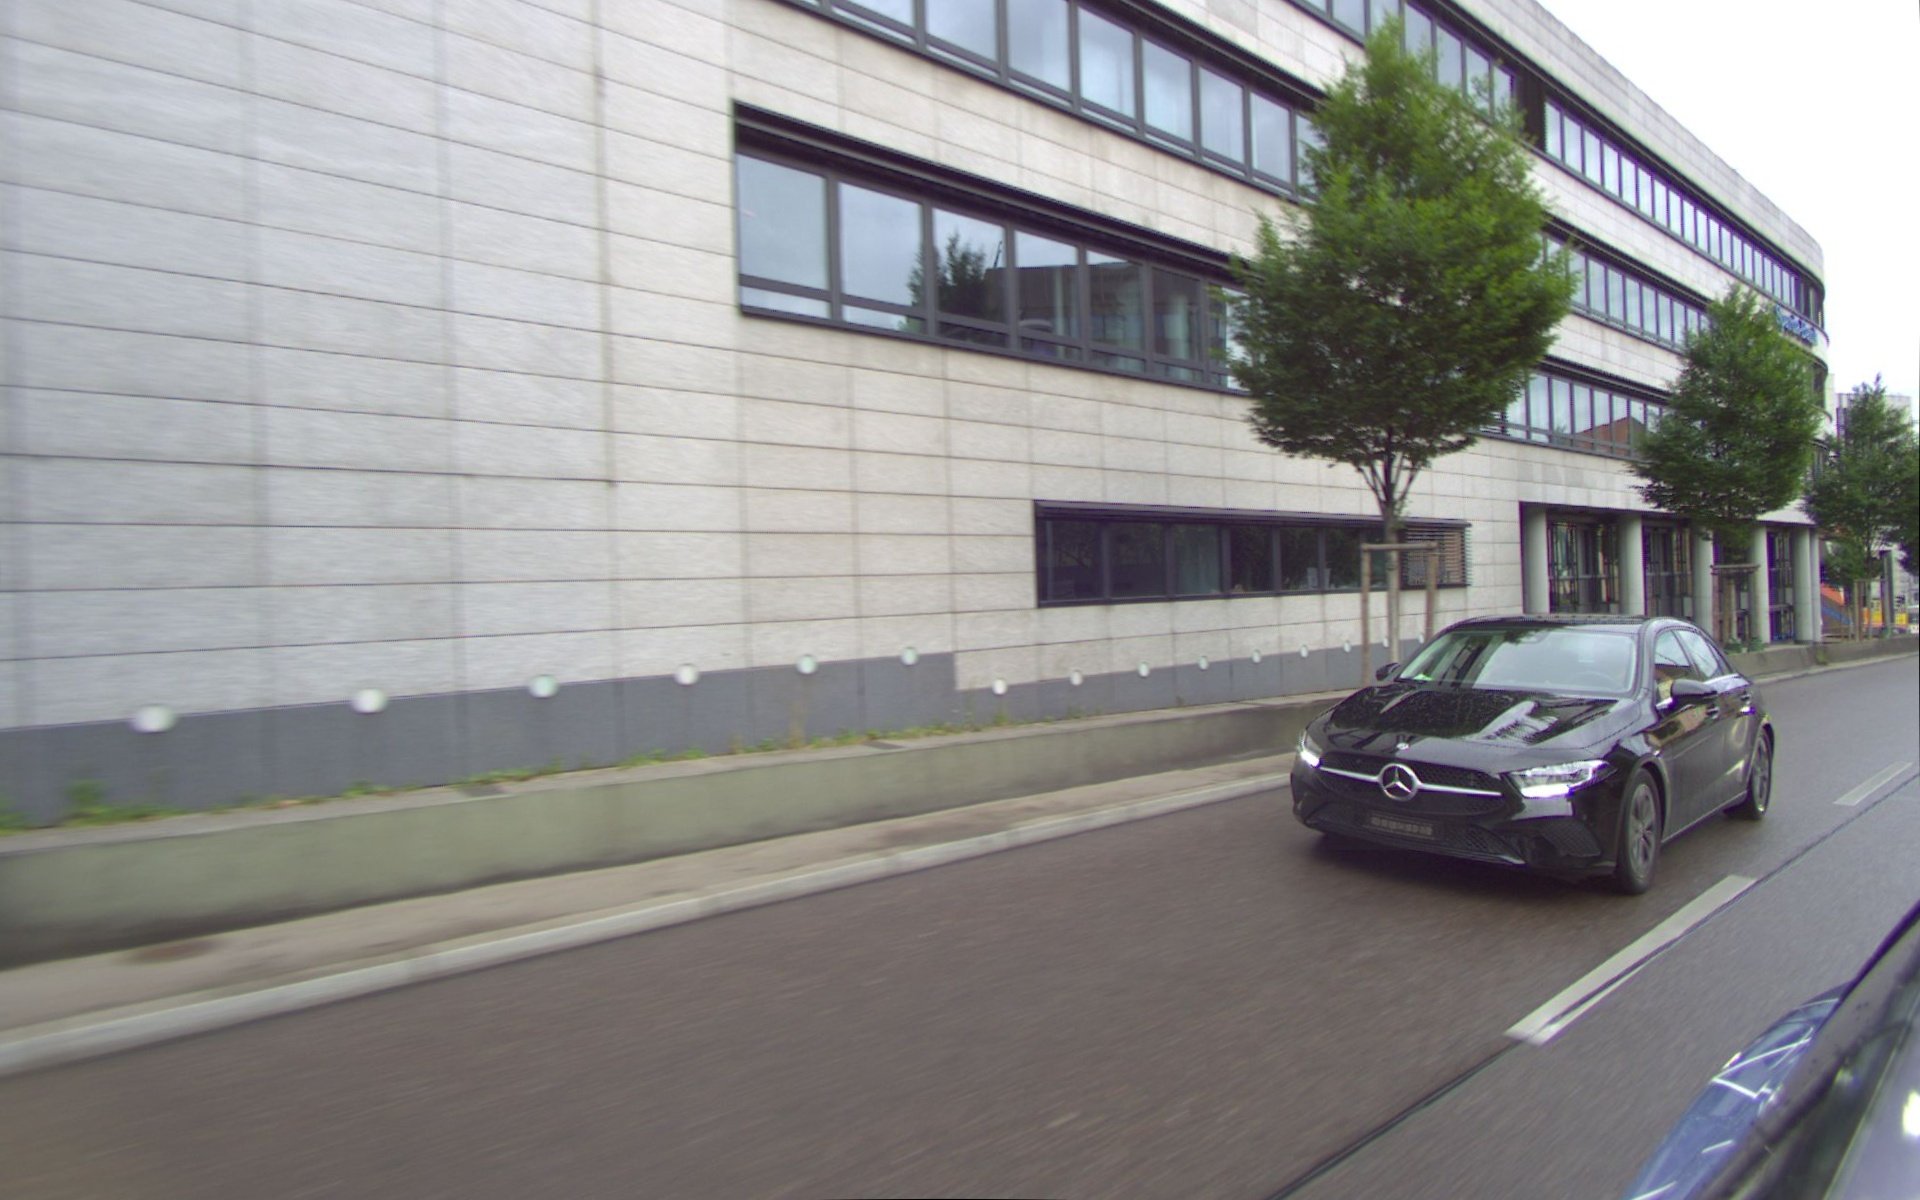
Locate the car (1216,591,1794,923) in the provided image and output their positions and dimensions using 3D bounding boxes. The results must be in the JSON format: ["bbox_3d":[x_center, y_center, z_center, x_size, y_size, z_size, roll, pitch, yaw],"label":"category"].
[{"bbox_3d":[3.671,0.703,6.504,4.130,1.455,1.876,0,-1,-40],"label":"car"}]
